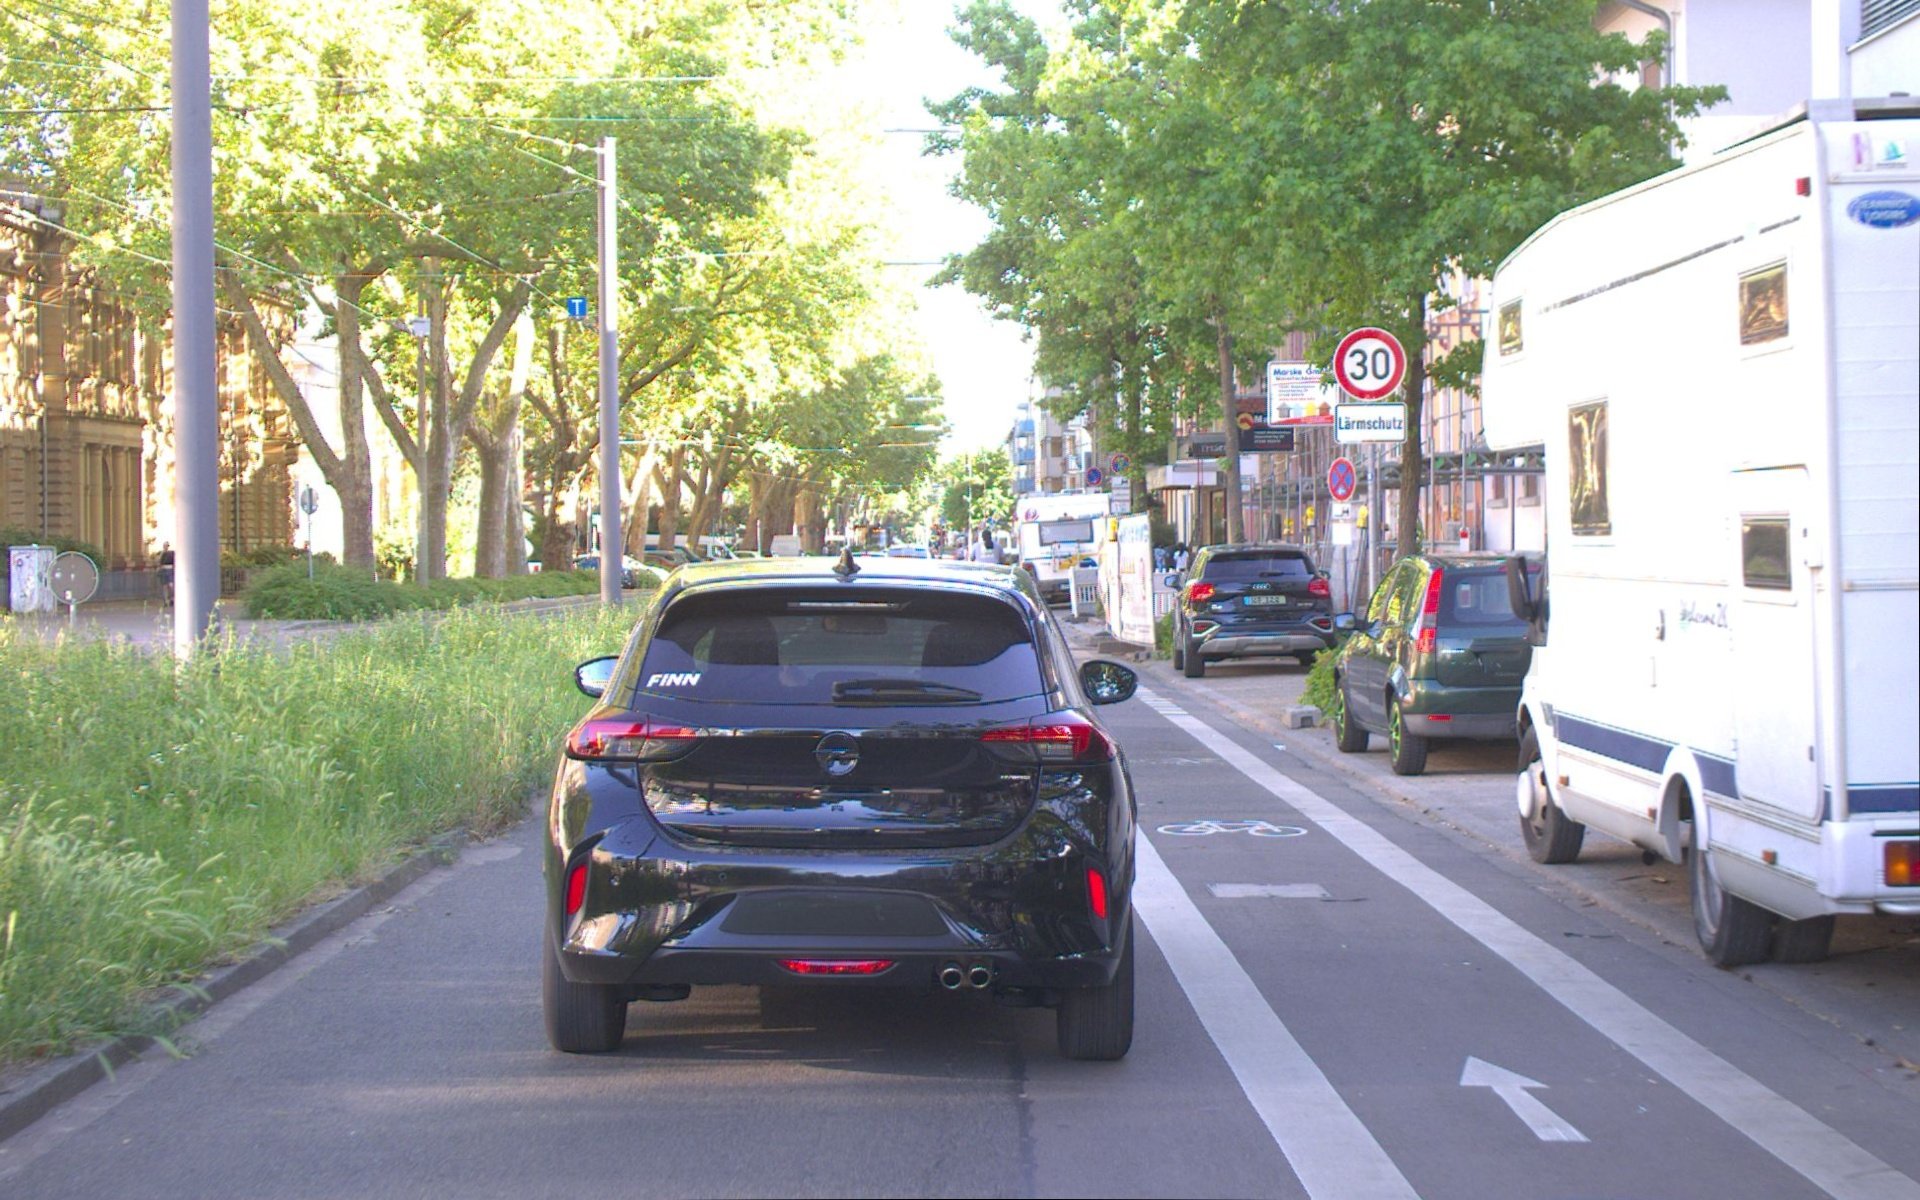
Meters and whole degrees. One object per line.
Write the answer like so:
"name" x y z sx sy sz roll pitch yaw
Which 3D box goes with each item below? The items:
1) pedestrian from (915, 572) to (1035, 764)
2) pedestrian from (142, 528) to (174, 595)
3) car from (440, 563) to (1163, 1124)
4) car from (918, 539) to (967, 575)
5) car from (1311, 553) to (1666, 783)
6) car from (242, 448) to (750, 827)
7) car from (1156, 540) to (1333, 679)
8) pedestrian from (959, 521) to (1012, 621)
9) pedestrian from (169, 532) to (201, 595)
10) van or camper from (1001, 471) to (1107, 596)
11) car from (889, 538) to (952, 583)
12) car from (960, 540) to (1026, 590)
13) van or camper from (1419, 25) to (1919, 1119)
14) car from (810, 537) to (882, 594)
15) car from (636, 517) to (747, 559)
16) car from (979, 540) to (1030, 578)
"pedestrian" 0.114 0.550 28.503 0.970 1.557 0.971 0 1 -1
"pedestrian" -20.890 -1.006 89.535 0.618 1.727 0.596 2 1 -1
"car" -0.374 0.618 11.171 1.905 1.420 4.215 0 1 1
"car" -0.707 -1.761 140.565 1.905 1.420 4.215 0 1 1
"car" 3.539 0.400 23.681 1.685 1.415 4.049 -1 1 -2
"car" -2.225 0.127 17.709 1.993 1.622 4.471 2 1 -1
"car" 3.317 0.074 40.698 1.790 1.505 3.874 -1 1 1
"pedestrian" 0.517 -0.604 70.095 1.036 2.017 1.212 1 1 -1
"pedestrian" -20.225 -0.963 89.723 0.658 1.616 0.615 2 1 -1
"van or camper" 2.366 -1.683 87.078 2.486 2.983 5.434 2 1 1
"car" -1.251 -1.297 111.356 1.905 1.420 4.215 0 1 1
"car" 0.990 -1.042 101.575 1.905 1.420 4.215 0 1 1
"van or camper" 3.617 -0.196 13.610 2.375 3.114 7.551 -3 1 -1
"car" -3.160 -0.971 95.859 1.790 1.505 3.874 -1 1 1
"car" -14.285 -3.297 183.067 5.687 2.190 2.289 0 1 1
"car" 1.744 -1.606 133.460 1.905 1.420 4.215 0 1 1
